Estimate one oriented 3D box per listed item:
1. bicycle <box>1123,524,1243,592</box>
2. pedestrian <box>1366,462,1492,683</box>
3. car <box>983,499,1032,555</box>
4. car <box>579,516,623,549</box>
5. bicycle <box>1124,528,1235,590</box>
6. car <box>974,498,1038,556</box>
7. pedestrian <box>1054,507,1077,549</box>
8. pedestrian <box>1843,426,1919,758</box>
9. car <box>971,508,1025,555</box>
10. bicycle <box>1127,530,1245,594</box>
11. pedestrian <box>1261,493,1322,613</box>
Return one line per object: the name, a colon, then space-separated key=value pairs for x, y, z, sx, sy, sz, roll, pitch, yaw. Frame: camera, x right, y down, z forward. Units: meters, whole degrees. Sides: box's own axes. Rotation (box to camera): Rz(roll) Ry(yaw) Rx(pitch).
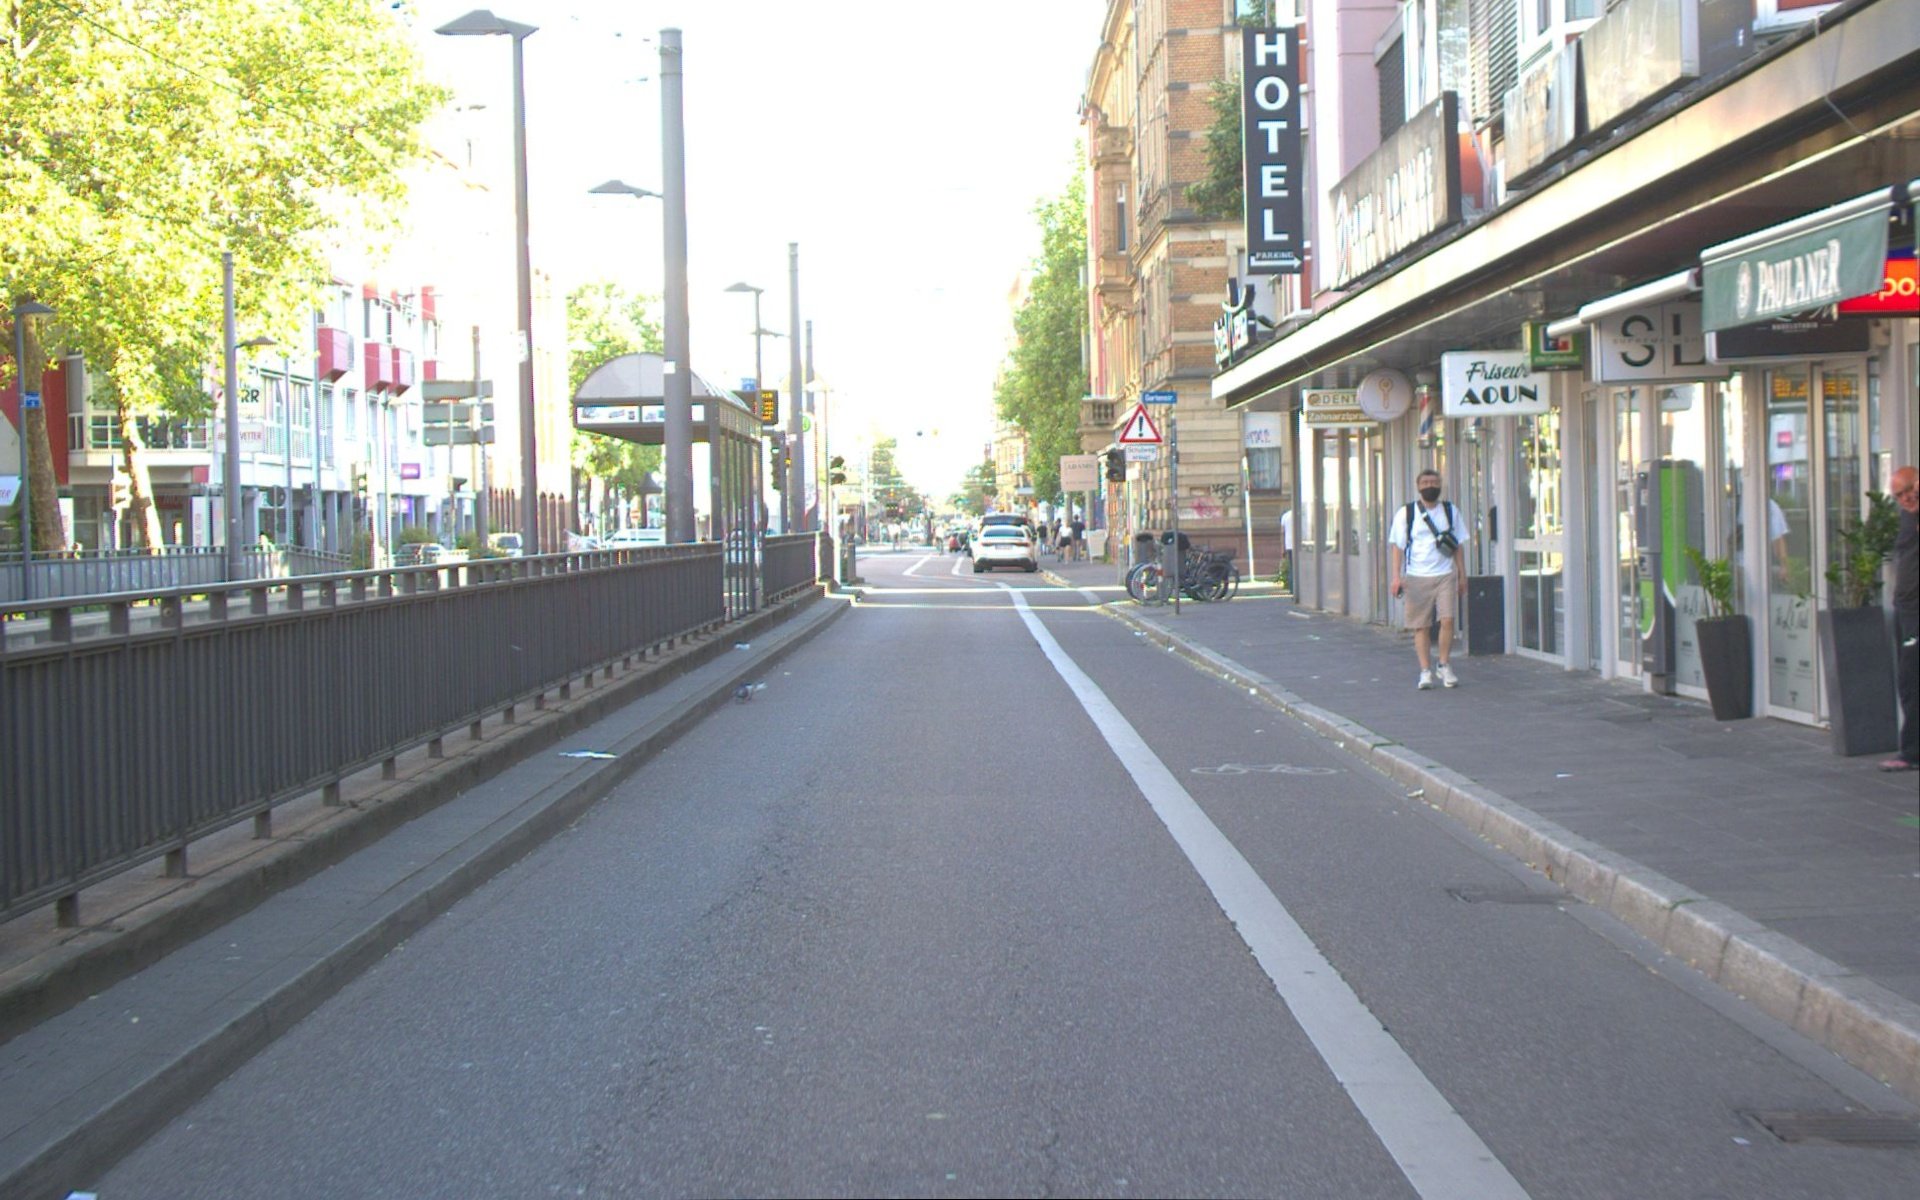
bicycle: x=3.797 y=-0.717 z=58.697 sx=1.970 sy=1.101 sz=0.614 roll=-1 pitch=1 yaw=-3
pedestrian: x=3.811 y=-0.230 z=27.994 sx=0.798 sy=1.716 sz=1.061 roll=-4 pitch=1 yaw=2
car: x=1.825 y=-2.781 z=131.247 sx=1.705 sy=2.112 sz=3.706 roll=0 pitch=1 yaw=3
car: x=-17.399 y=-3.281 z=166.623 sx=1.869 sy=1.594 sz=4.255 roll=0 pitch=1 yaw=-3
bicycle: x=3.787 y=-0.713 z=59.427 sx=1.833 sy=1.050 sz=0.718 roll=-1 pitch=1 yaw=-3
car: x=1.448 y=-2.301 z=108.691 sx=1.966 sy=1.765 sz=4.875 roll=1 pitch=1 yaw=1
pedestrian: x=4.126 y=-2.811 z=134.280 sx=0.776 sy=1.561 sz=0.914 roll=-4 pitch=1 yaw=1
pedestrian: x=4.897 y=-0.051 z=17.596 sx=0.541 sy=1.667 sz=0.469 roll=-2 pitch=1 yaw=-9
car: x=1.495 y=-2.723 z=136.634 sx=1.949 sy=1.782 sz=5.182 roll=1 pitch=1 yaw=-1
bicycle: x=3.817 y=-0.644 z=58.041 sx=1.913 sy=1.044 sz=0.681 roll=-1 pitch=1 yaw=-3
pedestrian: x=5.297 y=-0.751 z=54.975 sx=0.813 sy=1.878 sz=0.776 roll=3 pitch=1 yaw=1
